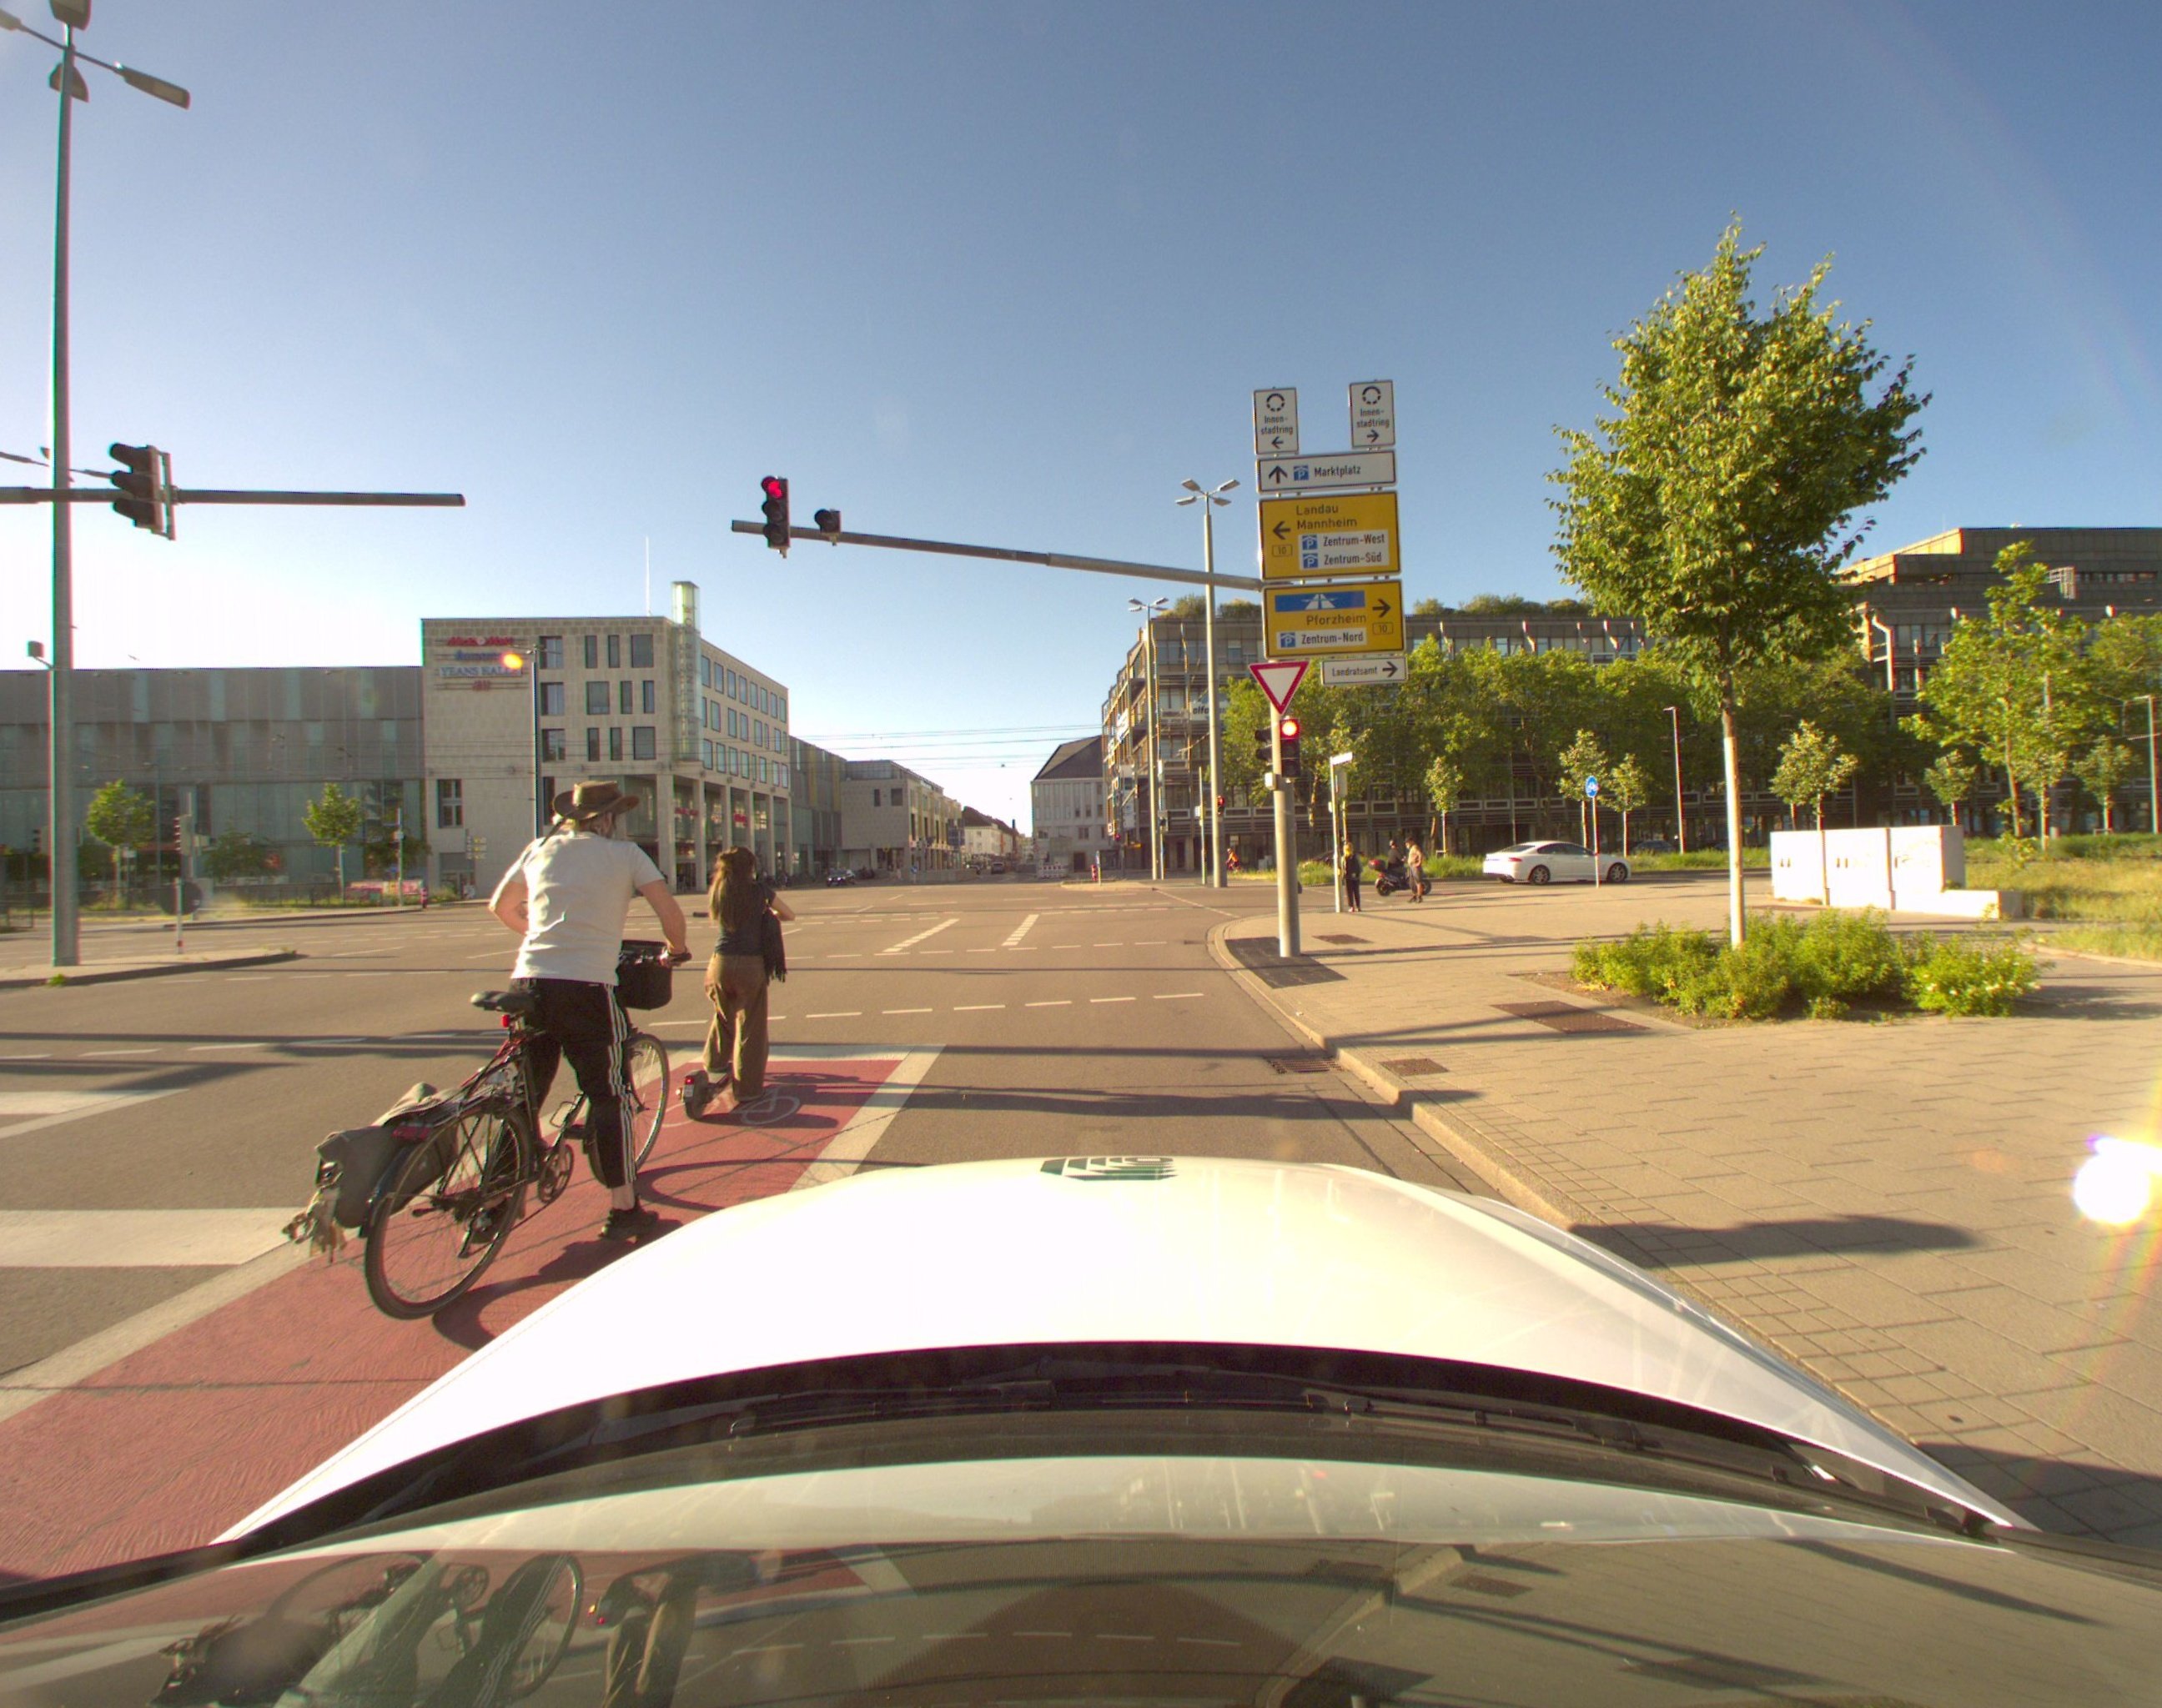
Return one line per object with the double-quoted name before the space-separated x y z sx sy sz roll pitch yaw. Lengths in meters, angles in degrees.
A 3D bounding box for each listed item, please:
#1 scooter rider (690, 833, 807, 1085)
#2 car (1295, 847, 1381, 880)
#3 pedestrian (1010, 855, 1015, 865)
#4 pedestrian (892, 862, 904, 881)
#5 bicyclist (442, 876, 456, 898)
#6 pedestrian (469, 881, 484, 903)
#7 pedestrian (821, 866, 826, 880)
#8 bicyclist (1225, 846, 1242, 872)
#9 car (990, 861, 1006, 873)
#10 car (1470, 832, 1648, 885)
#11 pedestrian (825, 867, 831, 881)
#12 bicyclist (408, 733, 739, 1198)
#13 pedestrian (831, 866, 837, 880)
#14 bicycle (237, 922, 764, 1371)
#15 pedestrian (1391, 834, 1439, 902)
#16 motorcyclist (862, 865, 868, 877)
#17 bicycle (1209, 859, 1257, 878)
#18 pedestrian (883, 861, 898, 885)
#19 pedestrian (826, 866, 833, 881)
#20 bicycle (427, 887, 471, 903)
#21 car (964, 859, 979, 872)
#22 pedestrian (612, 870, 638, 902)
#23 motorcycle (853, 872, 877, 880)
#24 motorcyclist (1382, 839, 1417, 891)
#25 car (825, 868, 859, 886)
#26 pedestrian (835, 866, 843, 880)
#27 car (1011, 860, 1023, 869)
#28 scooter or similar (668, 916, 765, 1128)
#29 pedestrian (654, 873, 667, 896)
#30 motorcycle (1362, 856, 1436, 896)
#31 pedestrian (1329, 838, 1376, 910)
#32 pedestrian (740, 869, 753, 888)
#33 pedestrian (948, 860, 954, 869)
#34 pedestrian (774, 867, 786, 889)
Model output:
"scooter rider" -2.128 0.645 5.255 0.552 1.530 0.448 -2 0 -7
"car" 14.551 0.530 46.218 4.287 1.684 1.820 -2 0 -9
"pedestrian" -13.905 1.196 165.263 0.907 1.965 0.823 0 -1 1
"pedestrian" -17.969 1.681 79.804 0.896 1.782 0.809 -2 0 1
"bicyclist" -42.518 2.198 54.781 0.590 1.448 0.623 -2 0 -25
"pedestrian" -44.044 2.745 59.337 0.590 1.541 0.629 -2 0 1
"pedestrian" -32.157 2.414 101.681 0.465 1.729 0.524 -1 -1 40
"bicyclist" 8.819 0.308 47.072 0.820 1.474 0.652 -2 0 -2
"car" -11.019 1.754 108.529 1.652 1.458 3.543 -2 0 2
"car" 16.156 0.138 27.659 5.081 1.564 1.994 -2 0 -9
"pedestrian" -32.084 2.498 103.203 0.465 1.729 0.524 -1 -1 40
"bicyclist" -2.065 0.414 3.448 0.802 1.700 0.852 -2 0 1
"pedestrian" -31.197 2.416 102.917 0.465 1.729 0.632 -1 -1 30
"bicycle" -2.081 0.942 3.347 0.736 1.147 1.891 -2 0 2
"pedestrian" 8.632 0.358 21.046 0.869 1.706 0.768 -2 0 0
"motorcyclist" -26.178 2.095 98.591 0.627 1.406 0.661 0 -1 -7
"bicycle" 8.753 0.819 47.058 2.561 0.975 1.047 -2 0 -1
"pedestrian" -14.924 1.491 63.672 0.935 1.864 0.541 -2 0 18
"pedestrian" -30.995 2.396 100.487 0.465 1.729 0.632 -1 -1 35
"bicycle" -42.478 2.745 54.791 2.221 0.903 0.632 -2 0 -25
"car" -15.557 1.583 115.637 1.816 1.684 3.993 -2 0 -5
"pedestrian" -25.123 1.767 44.911 0.821 1.675 1.004 -2 0 -2
"motorcycle" -26.111 2.650 98.411 2.600 0.993 1.113 0 -1 -8
"motorcyclist" 9.478 0.325 24.230 0.748 1.479 0.598 -2 0 -6
"car" -20.636 1.992 70.472 1.670 1.357 4.021 -2 0 1
"pedestrian" -30.127 2.397 101.384 0.465 1.729 0.699 -1 -1 40
"car" -11.480 1.835 146.216 1.652 1.458 3.543 -2 0 2
"scooter or similar" -2.204 0.972 4.981 0.306 1.107 0.835 -2 0 -9
"pedestrian" -30.836 2.229 59.724 0.590 1.646 0.629 -2 0 1
"motorcycle" 9.446 0.647 24.208 1.952 1.100 0.648 -2 0 -6
"pedestrian" 6.311 0.445 18.963 0.763 1.614 0.874 -2 0 0
"pedestrian" -29.995 2.199 73.024 0.771 1.638 0.628 -2 0 11
"pedestrian" -22.433 1.794 140.141 0.678 1.598 0.841 -2 0 11
"pedestrian" -23.866 1.914 64.547 0.697 1.688 0.620 -2 0 2
